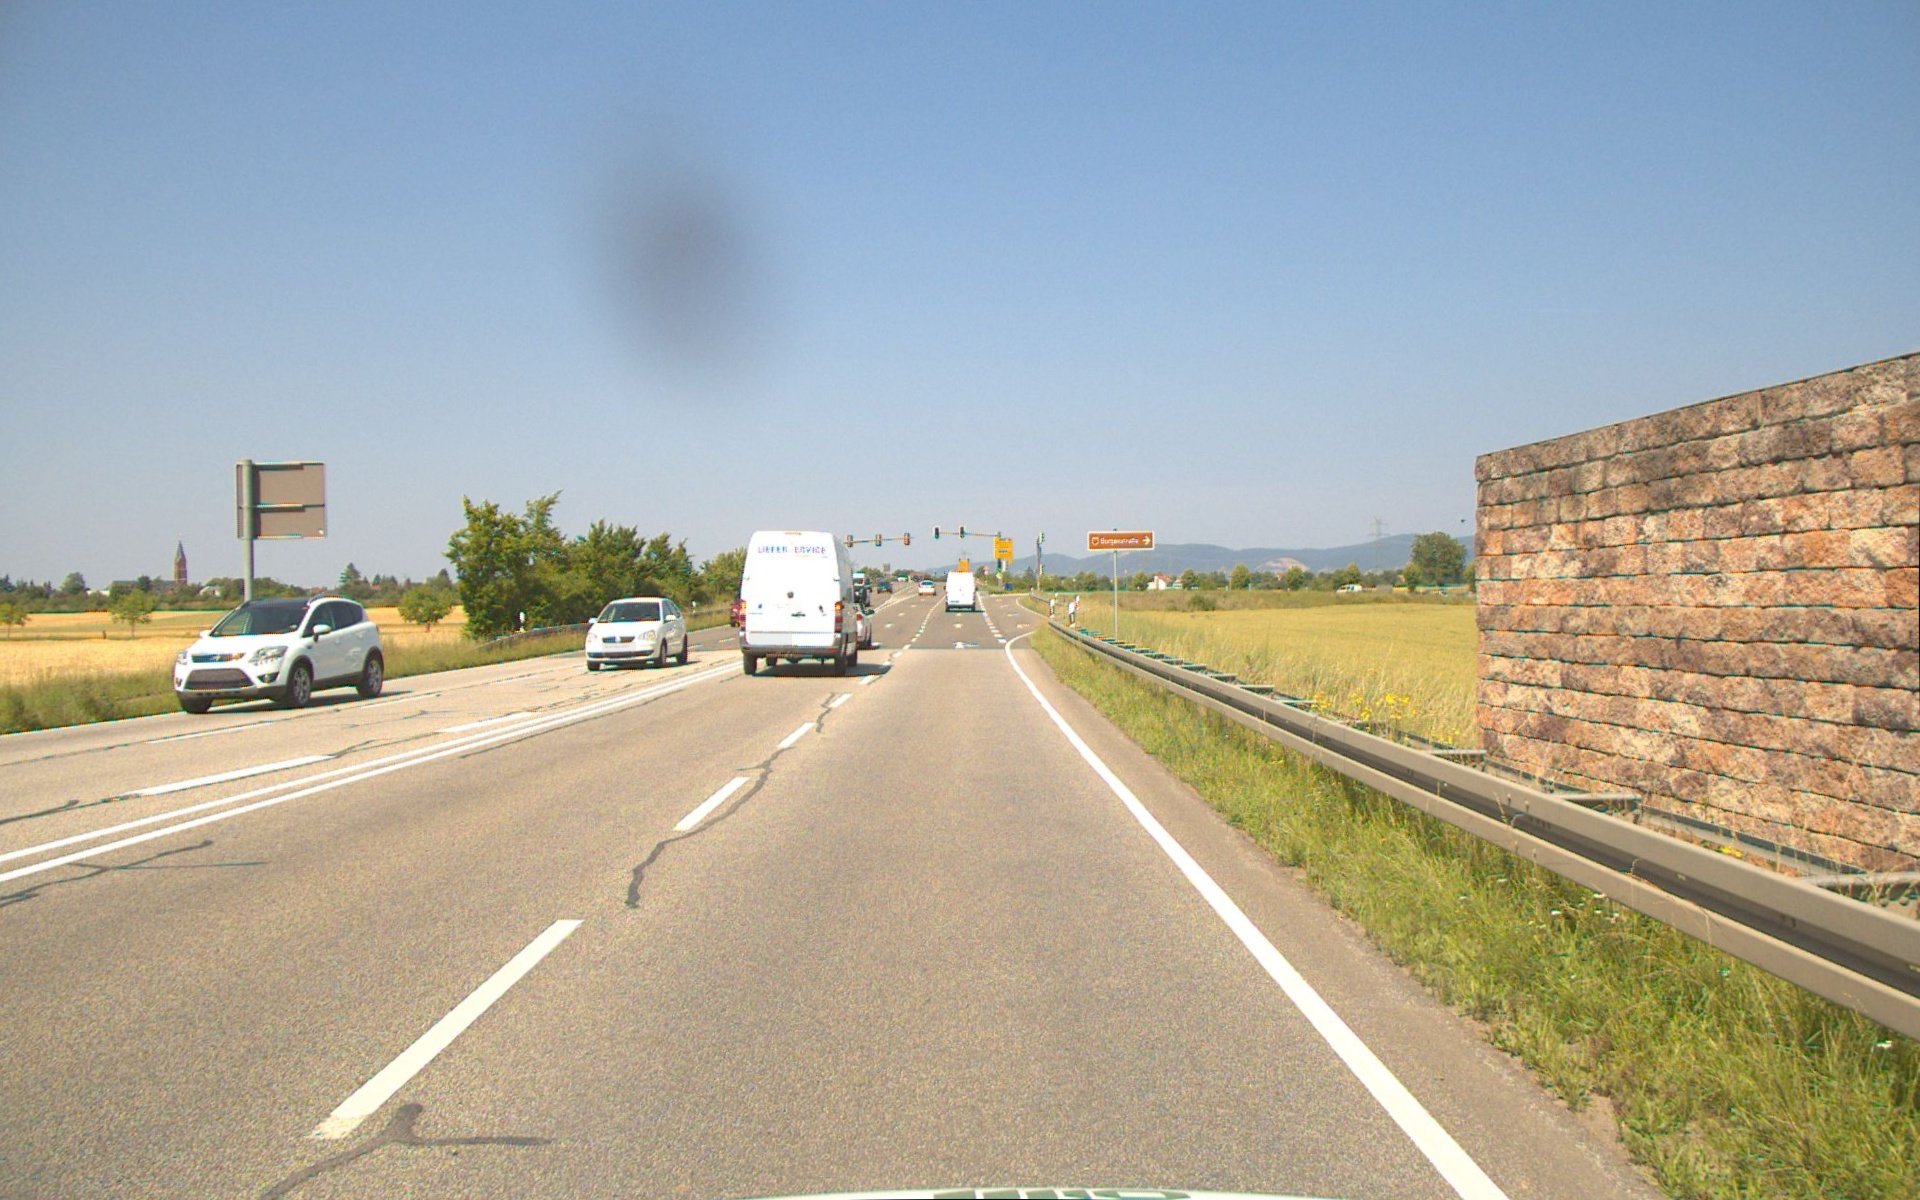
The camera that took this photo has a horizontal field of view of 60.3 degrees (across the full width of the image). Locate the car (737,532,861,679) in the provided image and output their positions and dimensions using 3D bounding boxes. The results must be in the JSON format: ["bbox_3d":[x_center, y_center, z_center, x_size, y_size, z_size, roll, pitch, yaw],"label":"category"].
[{"bbox_3d":[-3.083,0.106,32.856,1.998,2.666,5.739,0,0,-1],"label":"car"}]

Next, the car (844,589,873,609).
[{"bbox_3d":[-7.838,-0.061,127.828,1.819,1.448,4.001,-2,0,1],"label":"car"}]

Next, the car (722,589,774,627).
[{"bbox_3d":[-10.561,0.371,82.591,1.953,1.589,4.312,-3,2,0],"label":"car"}]

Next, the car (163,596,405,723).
[{"bbox_3d":[-10.627,0.870,26.403,1.630,1.705,4.466,-3,1,5],"label":"car"}]

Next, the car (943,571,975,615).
[{"bbox_3d":[-0.073,-0.424,107.988,1.953,2.742,4.969,-2,0,0],"label":"car"}]

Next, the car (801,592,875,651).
[{"bbox_3d":[-3.391,0.576,46.534,1.762,1.534,4.196,-1,1,0],"label":"car"}]

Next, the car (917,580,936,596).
[{"bbox_3d":[-3.612,-1.264,177.134,1.952,1.733,4.275,0,0,0],"label":"car"}]

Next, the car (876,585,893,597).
[{"bbox_3d":[-9.401,-1.140,205.712,1.819,1.448,4.000,-1,0,1],"label":"car"}]

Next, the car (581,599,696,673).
[{"bbox_3d":[-6.934,0.734,36.019,1.713,1.467,4.081,-2,0,-1],"label":"car"}]
